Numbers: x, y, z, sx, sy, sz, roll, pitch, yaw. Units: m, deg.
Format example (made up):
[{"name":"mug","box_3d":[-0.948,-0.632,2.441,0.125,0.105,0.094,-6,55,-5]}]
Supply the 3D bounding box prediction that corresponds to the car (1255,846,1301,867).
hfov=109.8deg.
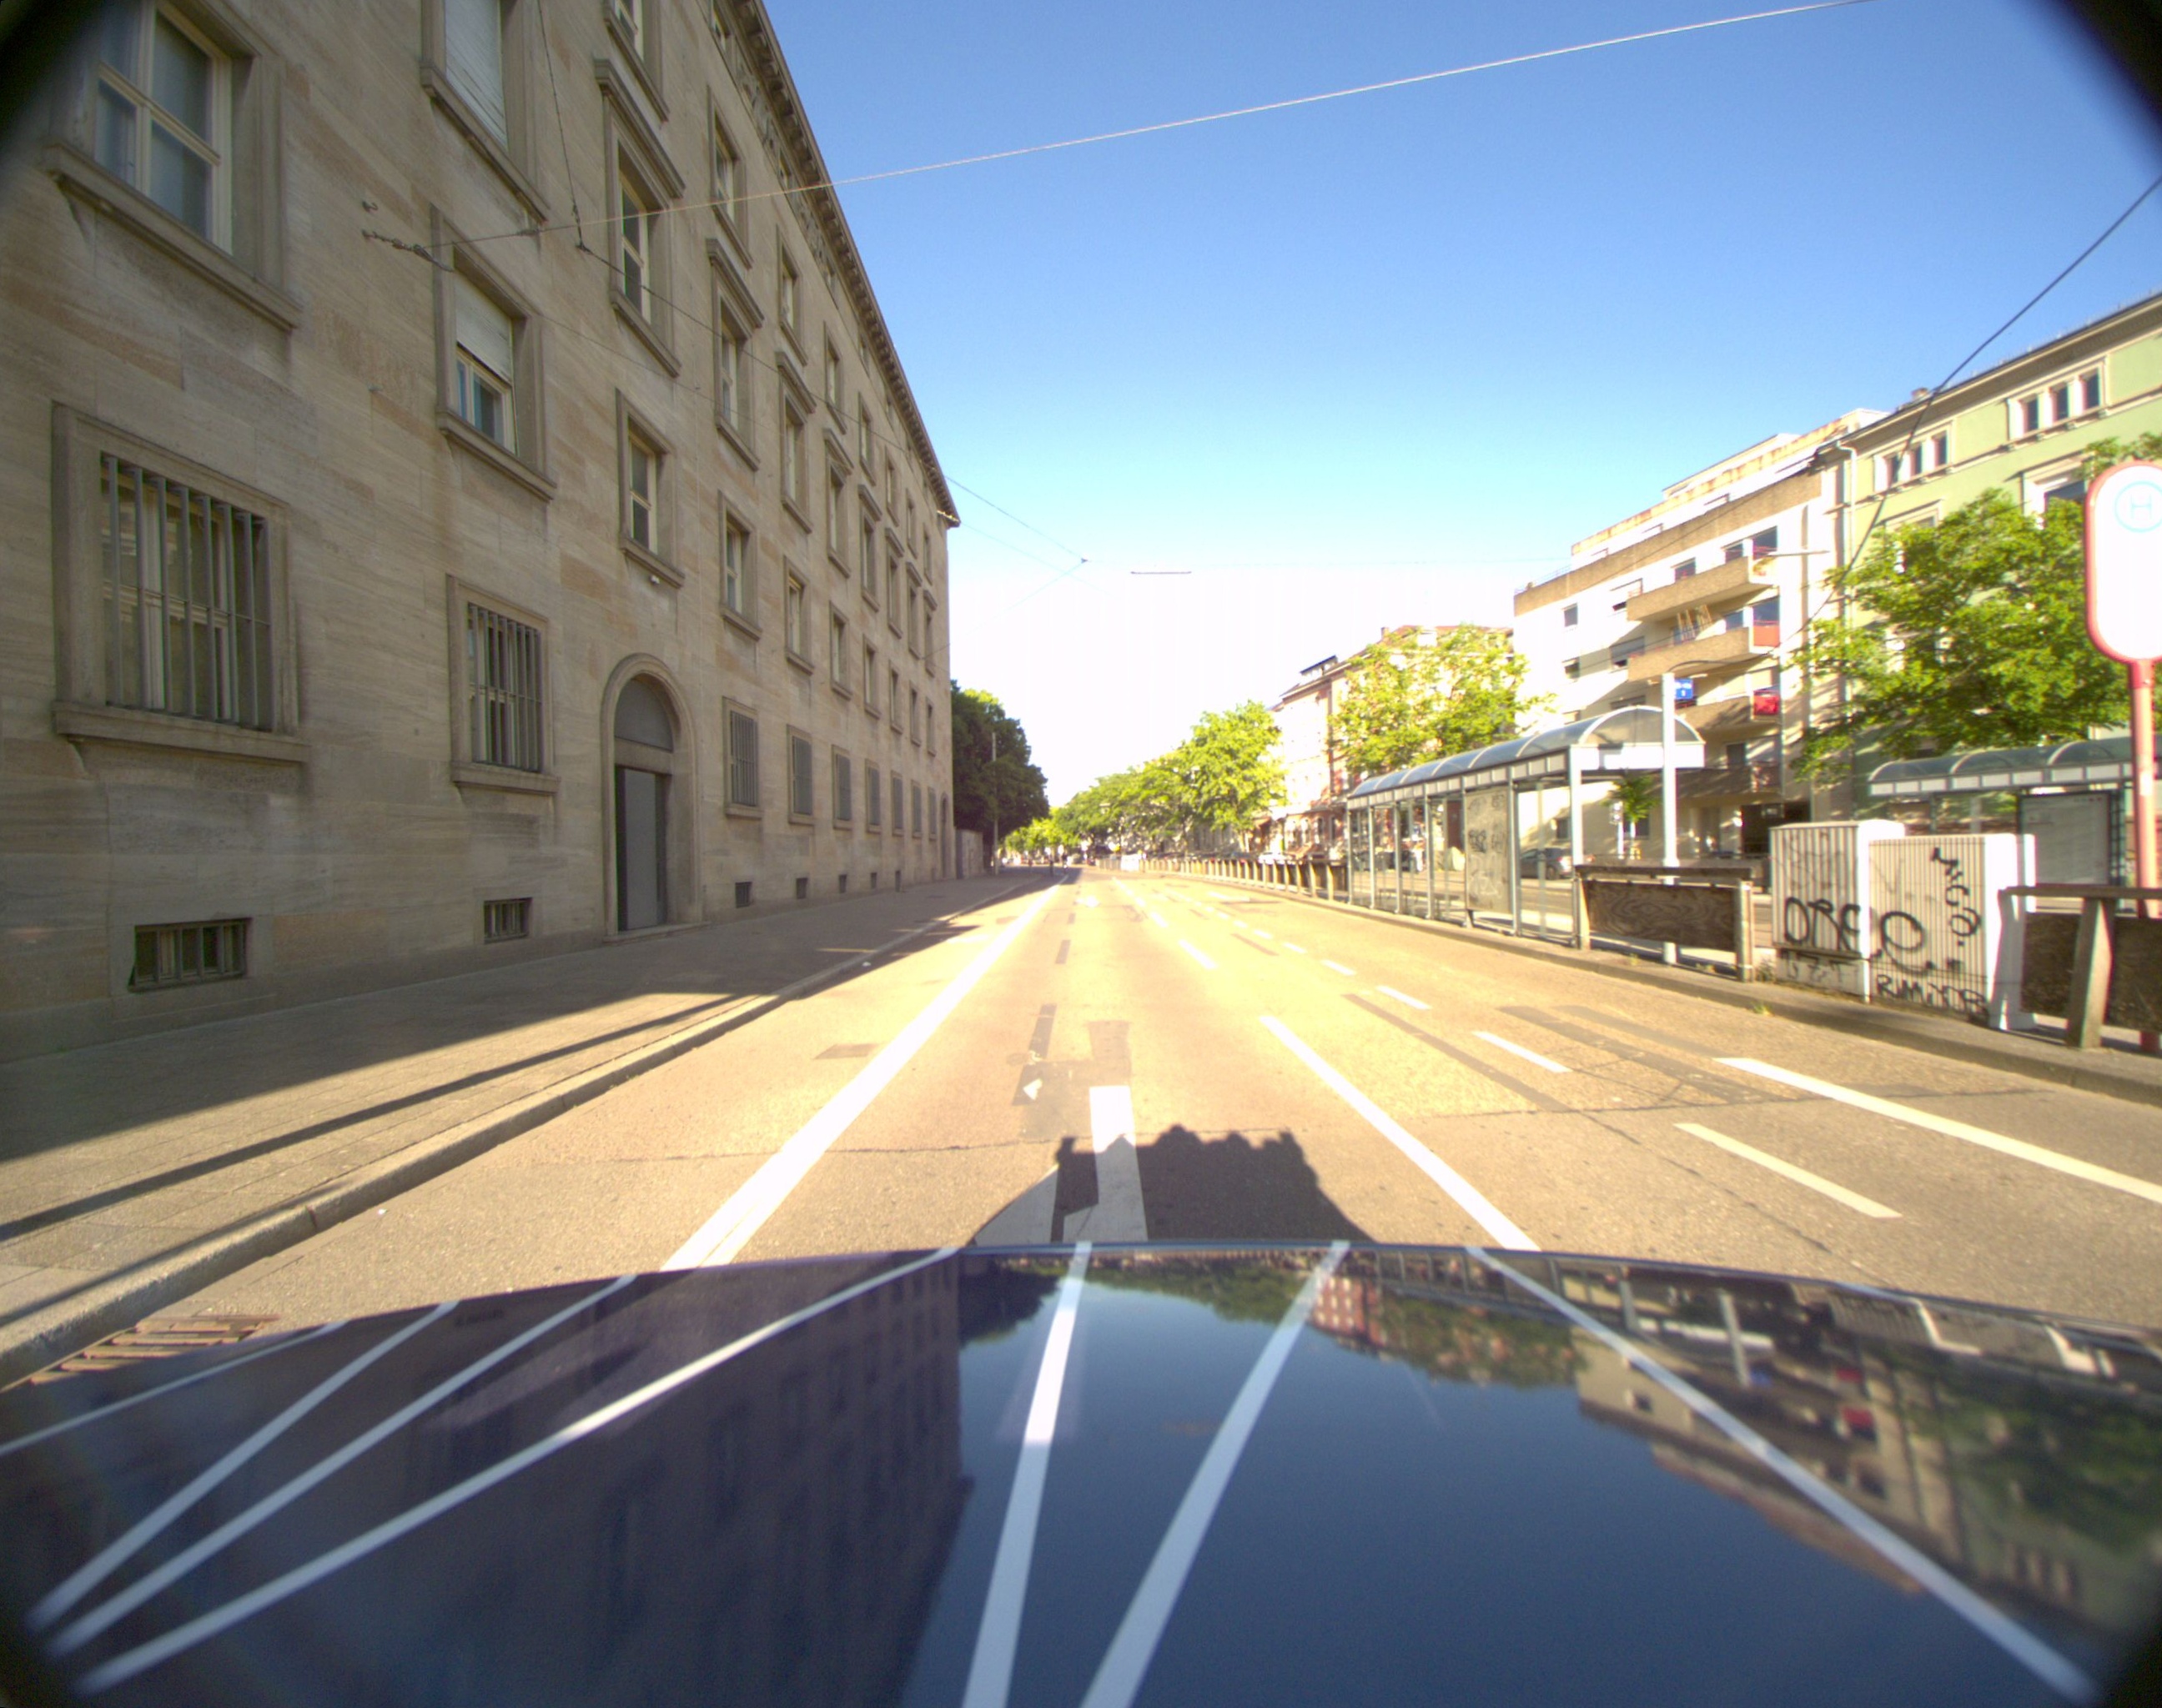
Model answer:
[{"name":"car","box_3d":[16.535,0.217,63.763,4.134,1.698,1.848,-1,1,-45]}]

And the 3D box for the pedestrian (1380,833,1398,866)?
[{"name":"pedestrian","box_3d":[21.234,-0.301,52.360,0.813,2.194,0.756,-1,1,-10]}]

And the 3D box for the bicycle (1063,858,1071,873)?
[{"name":"bicycle","box_3d":[-1.099,0.916,59.492,0.625,1.167,1.566,0,0,1]}]

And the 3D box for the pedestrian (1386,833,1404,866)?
[{"name":"pedestrian","box_3d":[21.277,-0.293,51.443,0.813,2.194,0.756,-1,1,-10]}]

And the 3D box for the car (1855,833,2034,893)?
[{"name":"car","box_3d":[24.694,0.238,21.764,4.002,1.573,1.761,-1,0,-14]}]

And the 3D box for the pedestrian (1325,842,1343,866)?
[{"name":"pedestrian","box_3d":[18.436,0.002,55.357,0.855,1.710,1.019,-1,1,-9]}]

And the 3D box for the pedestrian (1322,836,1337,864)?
[{"name":"pedestrian","box_3d":[19.398,-0.308,59.281,0.812,2.194,0.756,-1,1,-4]}]

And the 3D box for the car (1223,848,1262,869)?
[{"name":"car","box_3d":[12.088,0.302,57.064,1.648,1.480,3.997,-1,0,-7]}]

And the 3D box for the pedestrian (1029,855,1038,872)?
[{"name":"pedestrian","box_3d":[-3.668,0.723,58.904,0.548,1.327,0.587,-1,1,7]}]

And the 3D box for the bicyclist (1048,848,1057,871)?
[{"name":"bicyclist","box_3d":[-2.233,0.411,59.723,0.625,1.729,0.688,-3,1,1]}]

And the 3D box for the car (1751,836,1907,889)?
[{"name":"car","box_3d":[23.895,0.241,24.305,4.002,1.573,1.761,-1,0,-14]}]

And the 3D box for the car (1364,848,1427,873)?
[{"name":"car","box_3d":[18.432,0.370,44.705,1.609,1.388,3.996,-1,0,-9]}]

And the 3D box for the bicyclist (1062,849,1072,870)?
[{"name":"bicyclist","box_3d":[-1.101,0.422,59.450,0.728,1.570,0.775,0,1,1]}]

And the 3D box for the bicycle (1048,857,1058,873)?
[{"name":"bicycle","box_3d":[-2.202,0.858,59.868,0.625,1.214,1.659,-3,1,1]}]

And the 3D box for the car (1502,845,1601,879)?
[{"name":"car","box_3d":[20.932,0.341,33.973,1.654,1.419,3.737,-1,0,-11]}]

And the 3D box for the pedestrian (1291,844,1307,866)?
[{"name":"pedestrian","box_3d":[16.468,0.088,57.340,0.868,1.619,0.891,-1,1,-10]}]

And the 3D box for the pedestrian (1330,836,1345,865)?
[{"name":"pedestrian","box_3d":[19.473,-0.294,57.757,0.813,2.194,0.756,-1,1,-10]}]
